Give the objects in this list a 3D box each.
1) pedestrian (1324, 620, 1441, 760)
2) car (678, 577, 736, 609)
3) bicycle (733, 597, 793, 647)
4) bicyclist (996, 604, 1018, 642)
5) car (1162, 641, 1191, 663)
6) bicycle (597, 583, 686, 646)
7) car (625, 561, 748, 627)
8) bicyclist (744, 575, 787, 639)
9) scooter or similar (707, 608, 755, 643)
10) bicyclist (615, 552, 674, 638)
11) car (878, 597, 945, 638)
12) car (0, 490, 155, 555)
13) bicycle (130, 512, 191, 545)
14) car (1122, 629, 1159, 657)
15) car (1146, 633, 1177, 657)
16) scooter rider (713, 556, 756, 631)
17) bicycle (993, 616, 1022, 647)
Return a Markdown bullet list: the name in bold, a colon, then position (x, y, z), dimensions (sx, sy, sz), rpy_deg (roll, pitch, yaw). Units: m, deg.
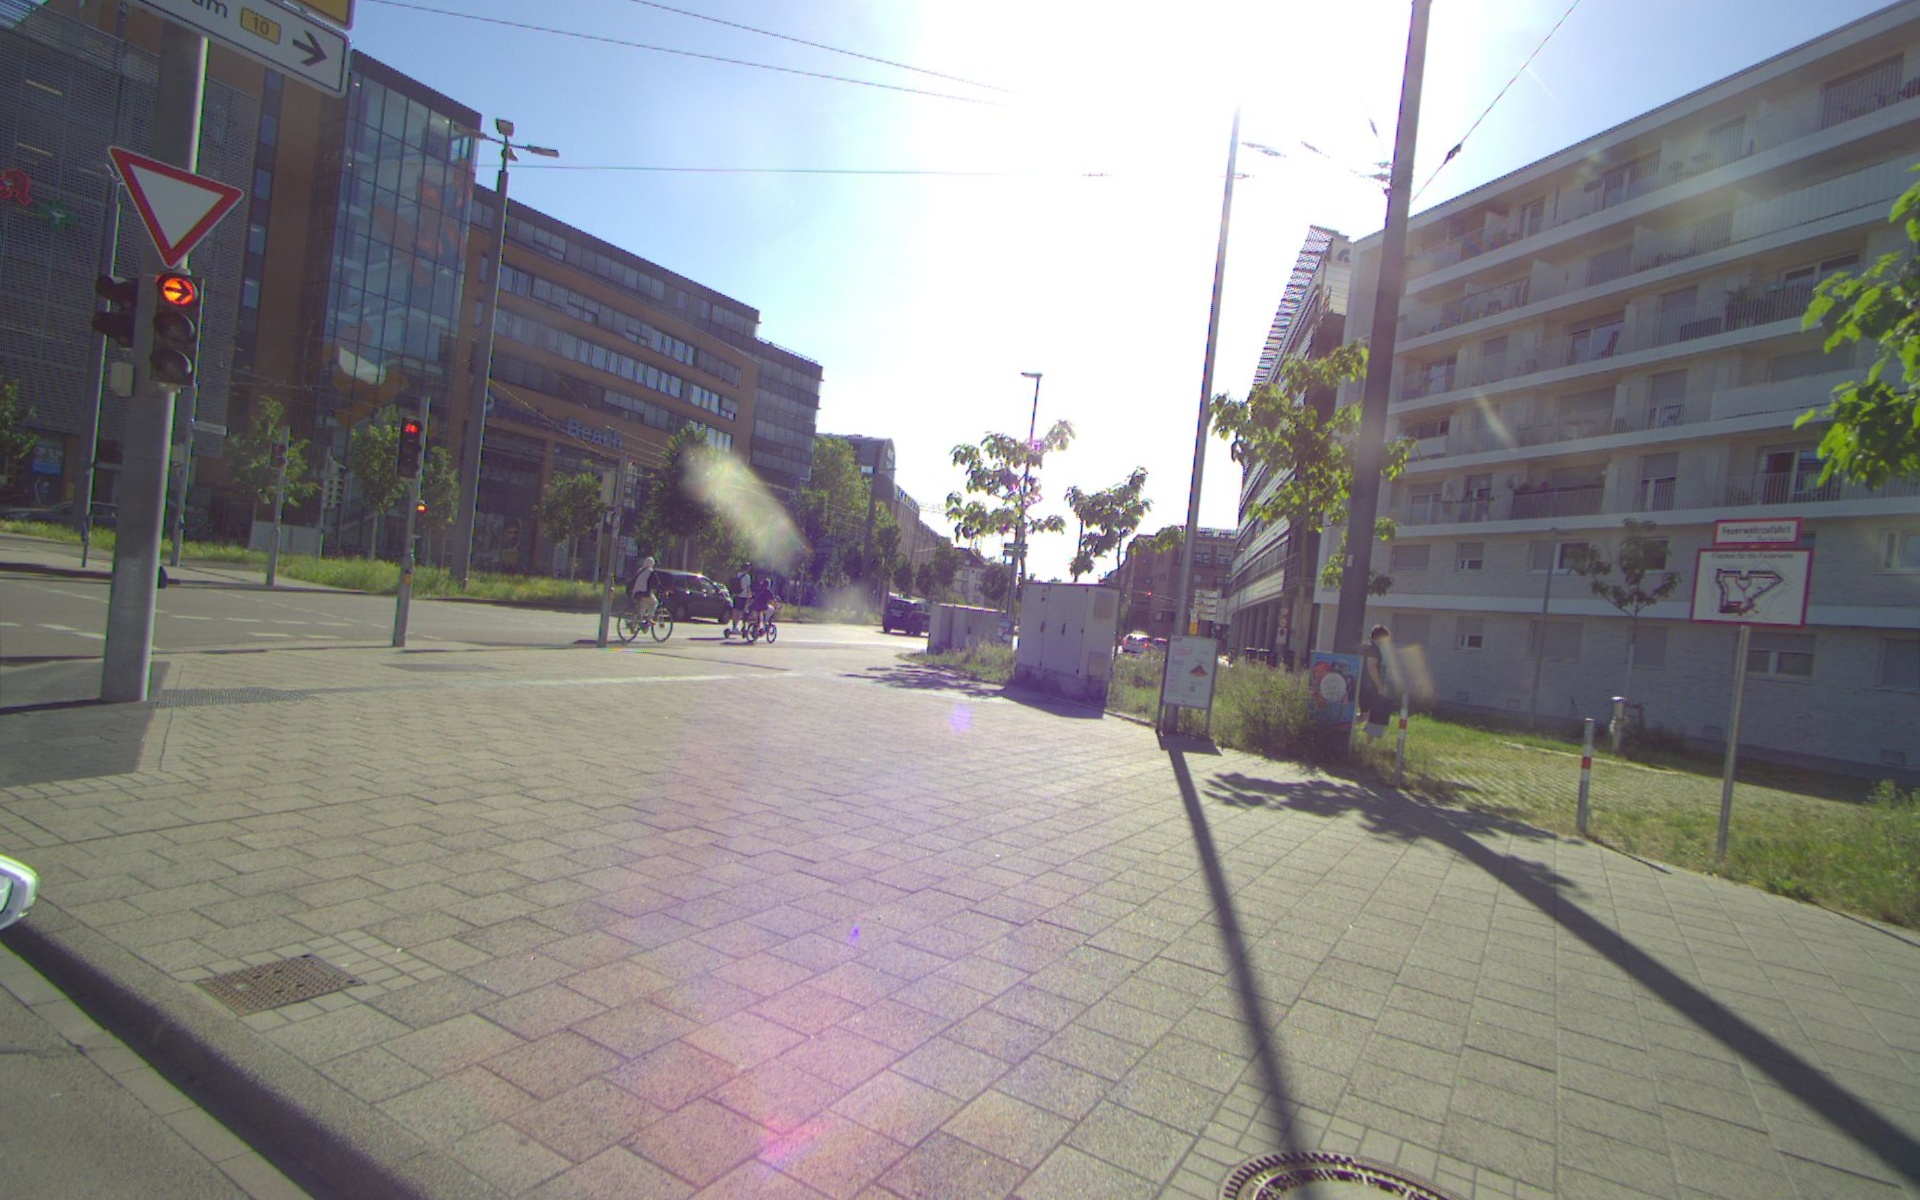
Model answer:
- **pedestrian**: position (5.684, 1.195, 13.576), dimensions (0.970, 1.719, 0.842), rpy_deg (6, 2, -16)
- **car**: position (-18.431, -0.482, 73.390), dimensions (1.807, 1.661, 4.311), rpy_deg (7, -5, 21)
- **bicycle**: position (-5.155, 0.598, 26.433), dimensions (0.576, 1.150, 1.761), rpy_deg (7, -2, 22)
- **bicyclist**: position (2.128, 1.046, 45.571), dimensions (0.563, 1.585, 0.886), rpy_deg (7, -1, 22)
- **car**: position (17.914, 4.328, 83.268), dimensions (1.677, 1.515, 4.281), rpy_deg (7, -2, 19)
- **bicycle**: position (-6.817, 0.328, 21.660), dimensions (0.571, 1.150, 1.907), rpy_deg (7, -2, 25)
- **car**: position (-8.631, -0.149, 32.083), dimensions (1.617, 1.665, 3.700), rpy_deg (7, -1, 26)
- **bicyclist**: position (-5.109, 0.196, 26.473), dimensions (0.563, 1.585, 0.886), rpy_deg (7, -1, 22)
- **scooter or similar**: position (-6.103, 0.685, 26.858), dimensions (0.603, 0.795, 1.213), rpy_deg (7, -2, 22)
- **bicyclist**: position (-6.783, -0.090, 21.639), dimensions (0.563, 1.727, 0.885), rpy_deg (7, -1, 25)
- **car**: position (-2.334, 0.899, 49.376), dimensions (1.616, 1.665, 4.200), rpy_deg (7, -1, 20)
- **car**: position (-32.071, -2.769, 36.331), dimensions (1.810, 1.484, 4.161), rpy_deg (6, -5, 30)
- **bicycle**: position (-40.521, -3.610, 51.037), dimensions (0.595, 1.310, 2.260), rpy_deg (7, -2, 30)
- **car**: position (12.169, 2.892, 67.564), dimensions (1.677, 1.515, 4.281), rpy_deg (7, -2, 19)
- **car**: position (15.557, 3.453, 77.463), dimensions (1.677, 1.515, 4.281), rpy_deg (7, -2, 19)
- **scooter rider**: position (-6.006, -0.157, 26.854), dimensions (0.563, 1.894, 0.787), rpy_deg (7, -1, 22)
- **bicycle**: position (2.164, 1.439, 45.704), dimensions (0.576, 1.271, 2.042), rpy_deg (7, -2, 22)
